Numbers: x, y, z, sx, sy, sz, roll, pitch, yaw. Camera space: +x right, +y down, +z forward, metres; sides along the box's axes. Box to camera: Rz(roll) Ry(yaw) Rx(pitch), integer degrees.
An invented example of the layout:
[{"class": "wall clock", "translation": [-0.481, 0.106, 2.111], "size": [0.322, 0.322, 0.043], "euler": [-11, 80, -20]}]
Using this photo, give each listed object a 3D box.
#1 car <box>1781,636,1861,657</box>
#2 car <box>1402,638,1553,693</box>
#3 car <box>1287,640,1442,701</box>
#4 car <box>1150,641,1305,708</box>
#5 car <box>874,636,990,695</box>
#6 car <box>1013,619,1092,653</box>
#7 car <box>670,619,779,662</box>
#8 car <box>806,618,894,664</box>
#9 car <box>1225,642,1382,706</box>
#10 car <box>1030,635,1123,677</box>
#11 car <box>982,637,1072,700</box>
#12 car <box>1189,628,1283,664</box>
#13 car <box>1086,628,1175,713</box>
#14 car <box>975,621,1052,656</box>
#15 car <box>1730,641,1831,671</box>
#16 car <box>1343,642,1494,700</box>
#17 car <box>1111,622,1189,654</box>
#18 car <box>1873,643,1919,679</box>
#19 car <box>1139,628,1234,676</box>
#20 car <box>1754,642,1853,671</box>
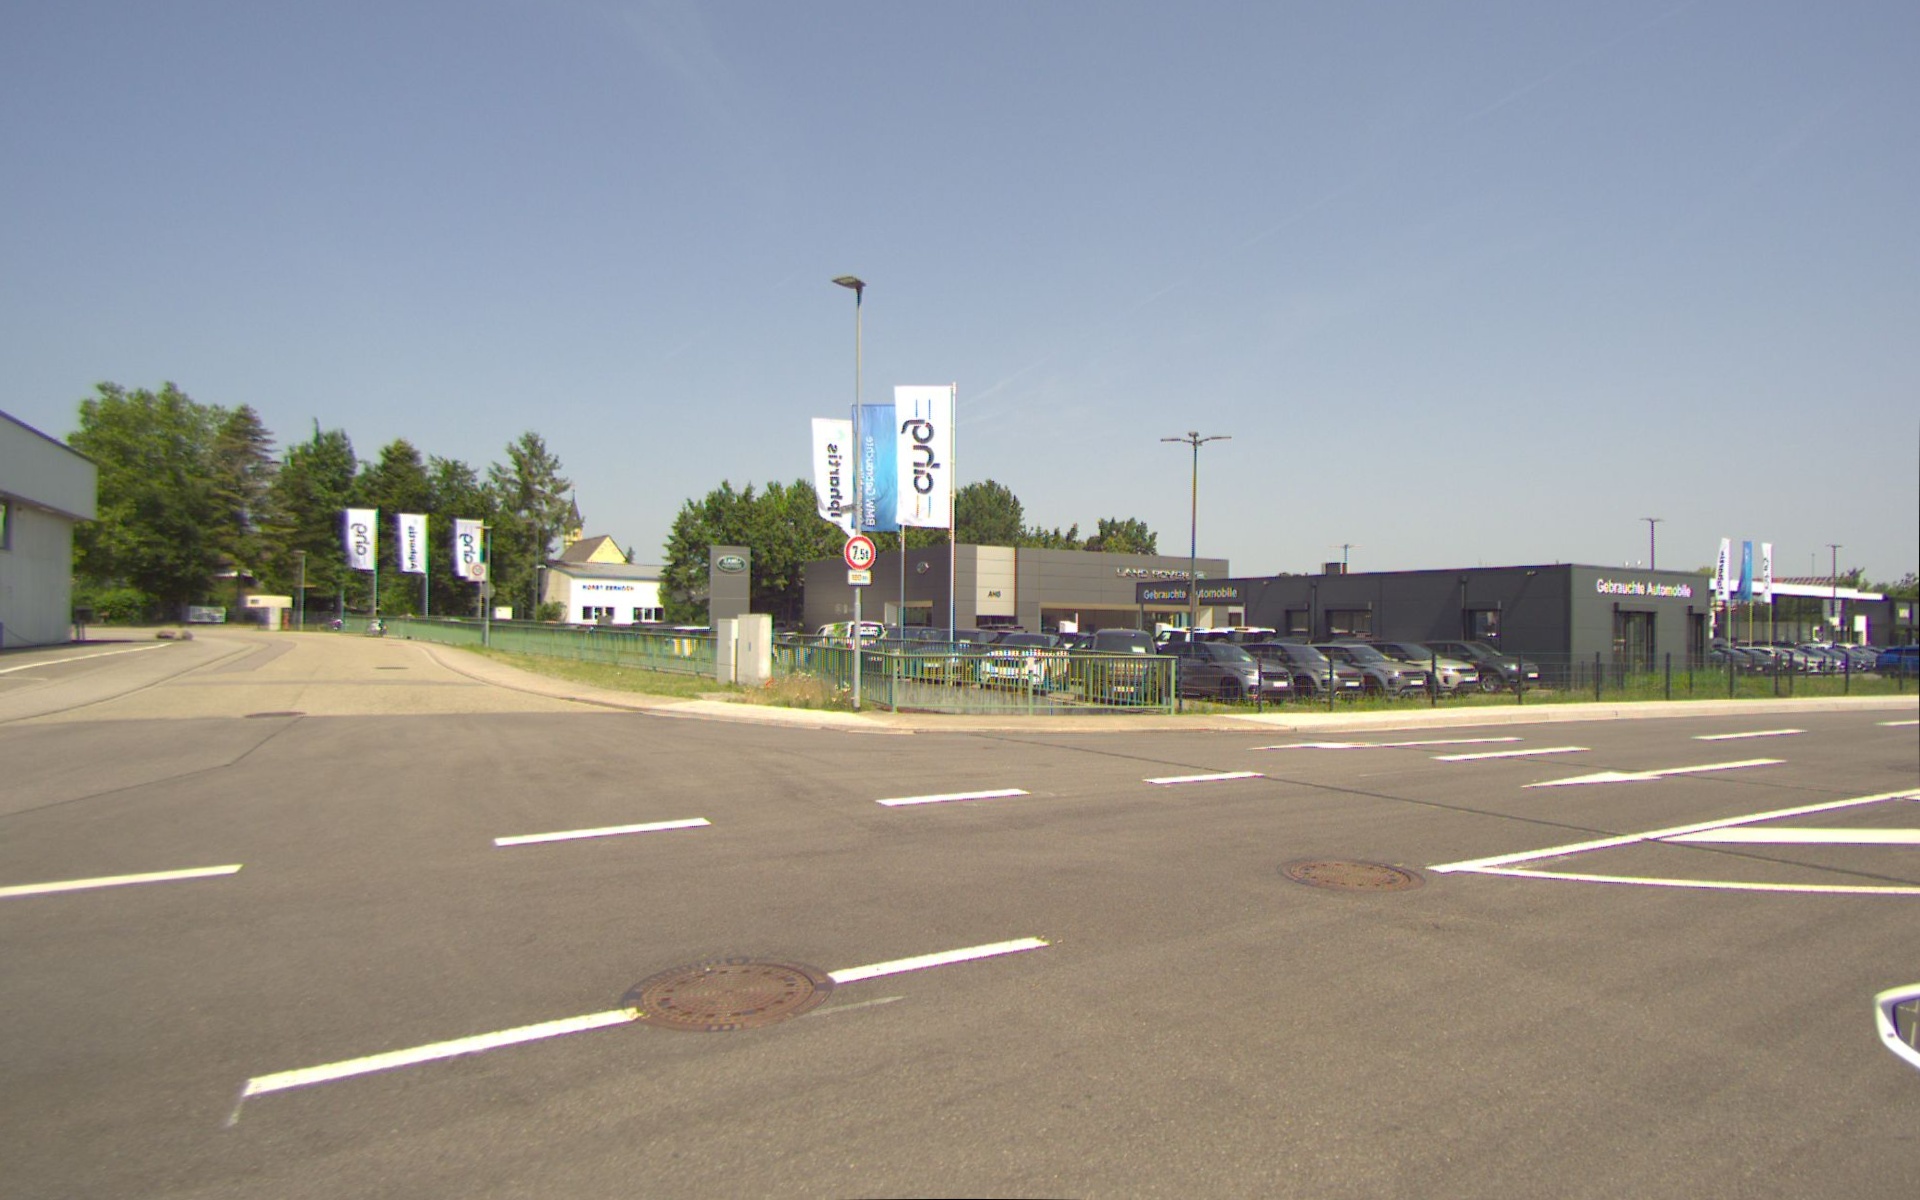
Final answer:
[{"class": "car", "translation": [63.866, 3.449, 74.594], "size": [1.793, 1.486, 4.146], "euler": [0, -2, -29]}, {"class": "car", "translation": [17.065, 2.106, 33.306], "size": [1.802, 1.653, 4.126], "euler": [0, -2, -32]}, {"class": "car", "translation": [12.153, 2.076, 30.403], "size": [1.954, 1.653, 3.967], "euler": [0, -2, -31]}, {"class": "car", "translation": [7.314, 1.989, 27.822], "size": [1.865, 1.653, 3.967], "euler": [0, -2, -31]}, {"class": "car", "translation": [-0.945, 2.003, 31.673], "size": [1.954, 1.687, 3.967], "euler": [0, -2, -31]}, {"class": "car", "translation": [4.103, 1.579, 44.978], "size": [1.667, 1.440, 3.665], "euler": [0, -1, -31]}, {"class": "car", "translation": [-10.090, 1.701, 43.042], "size": [4.259, 1.757, 1.955], "euler": [0, -1, -25]}, {"class": "car", "translation": [-4.509, 1.621, 40.818], "size": [1.945, 1.757, 4.281], "euler": [0, -1, -31]}, {"class": "car", "translation": [9.844, 2.070, 29.036], "size": [1.954, 1.653, 3.967], "euler": [0, -2, -31]}, {"class": "car", "translation": [4.439, 2.126, 38.602], "size": [1.667, 1.464, 3.665], "euler": [0, -1, -31]}, {"class": "car", "translation": [2.045, 1.919, 29.255], "size": [1.888, 1.582, 4.512], "euler": [1, -1, 13]}, {"class": "car", "translation": [11.802, 1.920, 43.101], "size": [1.667, 1.440, 3.817], "euler": [0, -1, -31]}, {"class": "car", "translation": [4.319, 1.725, 26.042], "size": [2.024, 1.890, 4.683], "euler": [2, -1, 7]}, {"class": "car", "translation": [2.323, 1.673, 44.597], "size": [1.667, 1.464, 3.665], "euler": [0, -1, -31]}, {"class": "car", "translation": [45.487, 3.081, 55.734], "size": [1.795, 1.514, 3.967], "euler": [0, -2, -31]}, {"class": "car", "translation": [14.415, 2.181, 31.762], "size": [1.944, 1.653, 3.970], "euler": [0, -2, -29]}, {"class": "car", "translation": [9.019, 1.774, 47.905], "size": [1.667, 1.440, 3.665], "euler": [0, -1, -31]}, {"class": "car", "translation": [41.640, 2.598, 42.581], "size": [1.889, 1.500, 3.967], "euler": [0, -2, -31]}, {"class": "car", "translation": [9.286, 2.104, 41.478], "size": [1.667, 1.853, 3.817], "euler": [0, -1, -31]}, {"class": "car", "translation": [48.069, 3.195, 57.300], "size": [1.795, 1.514, 3.967], "euler": [0, -2, -31]}]
